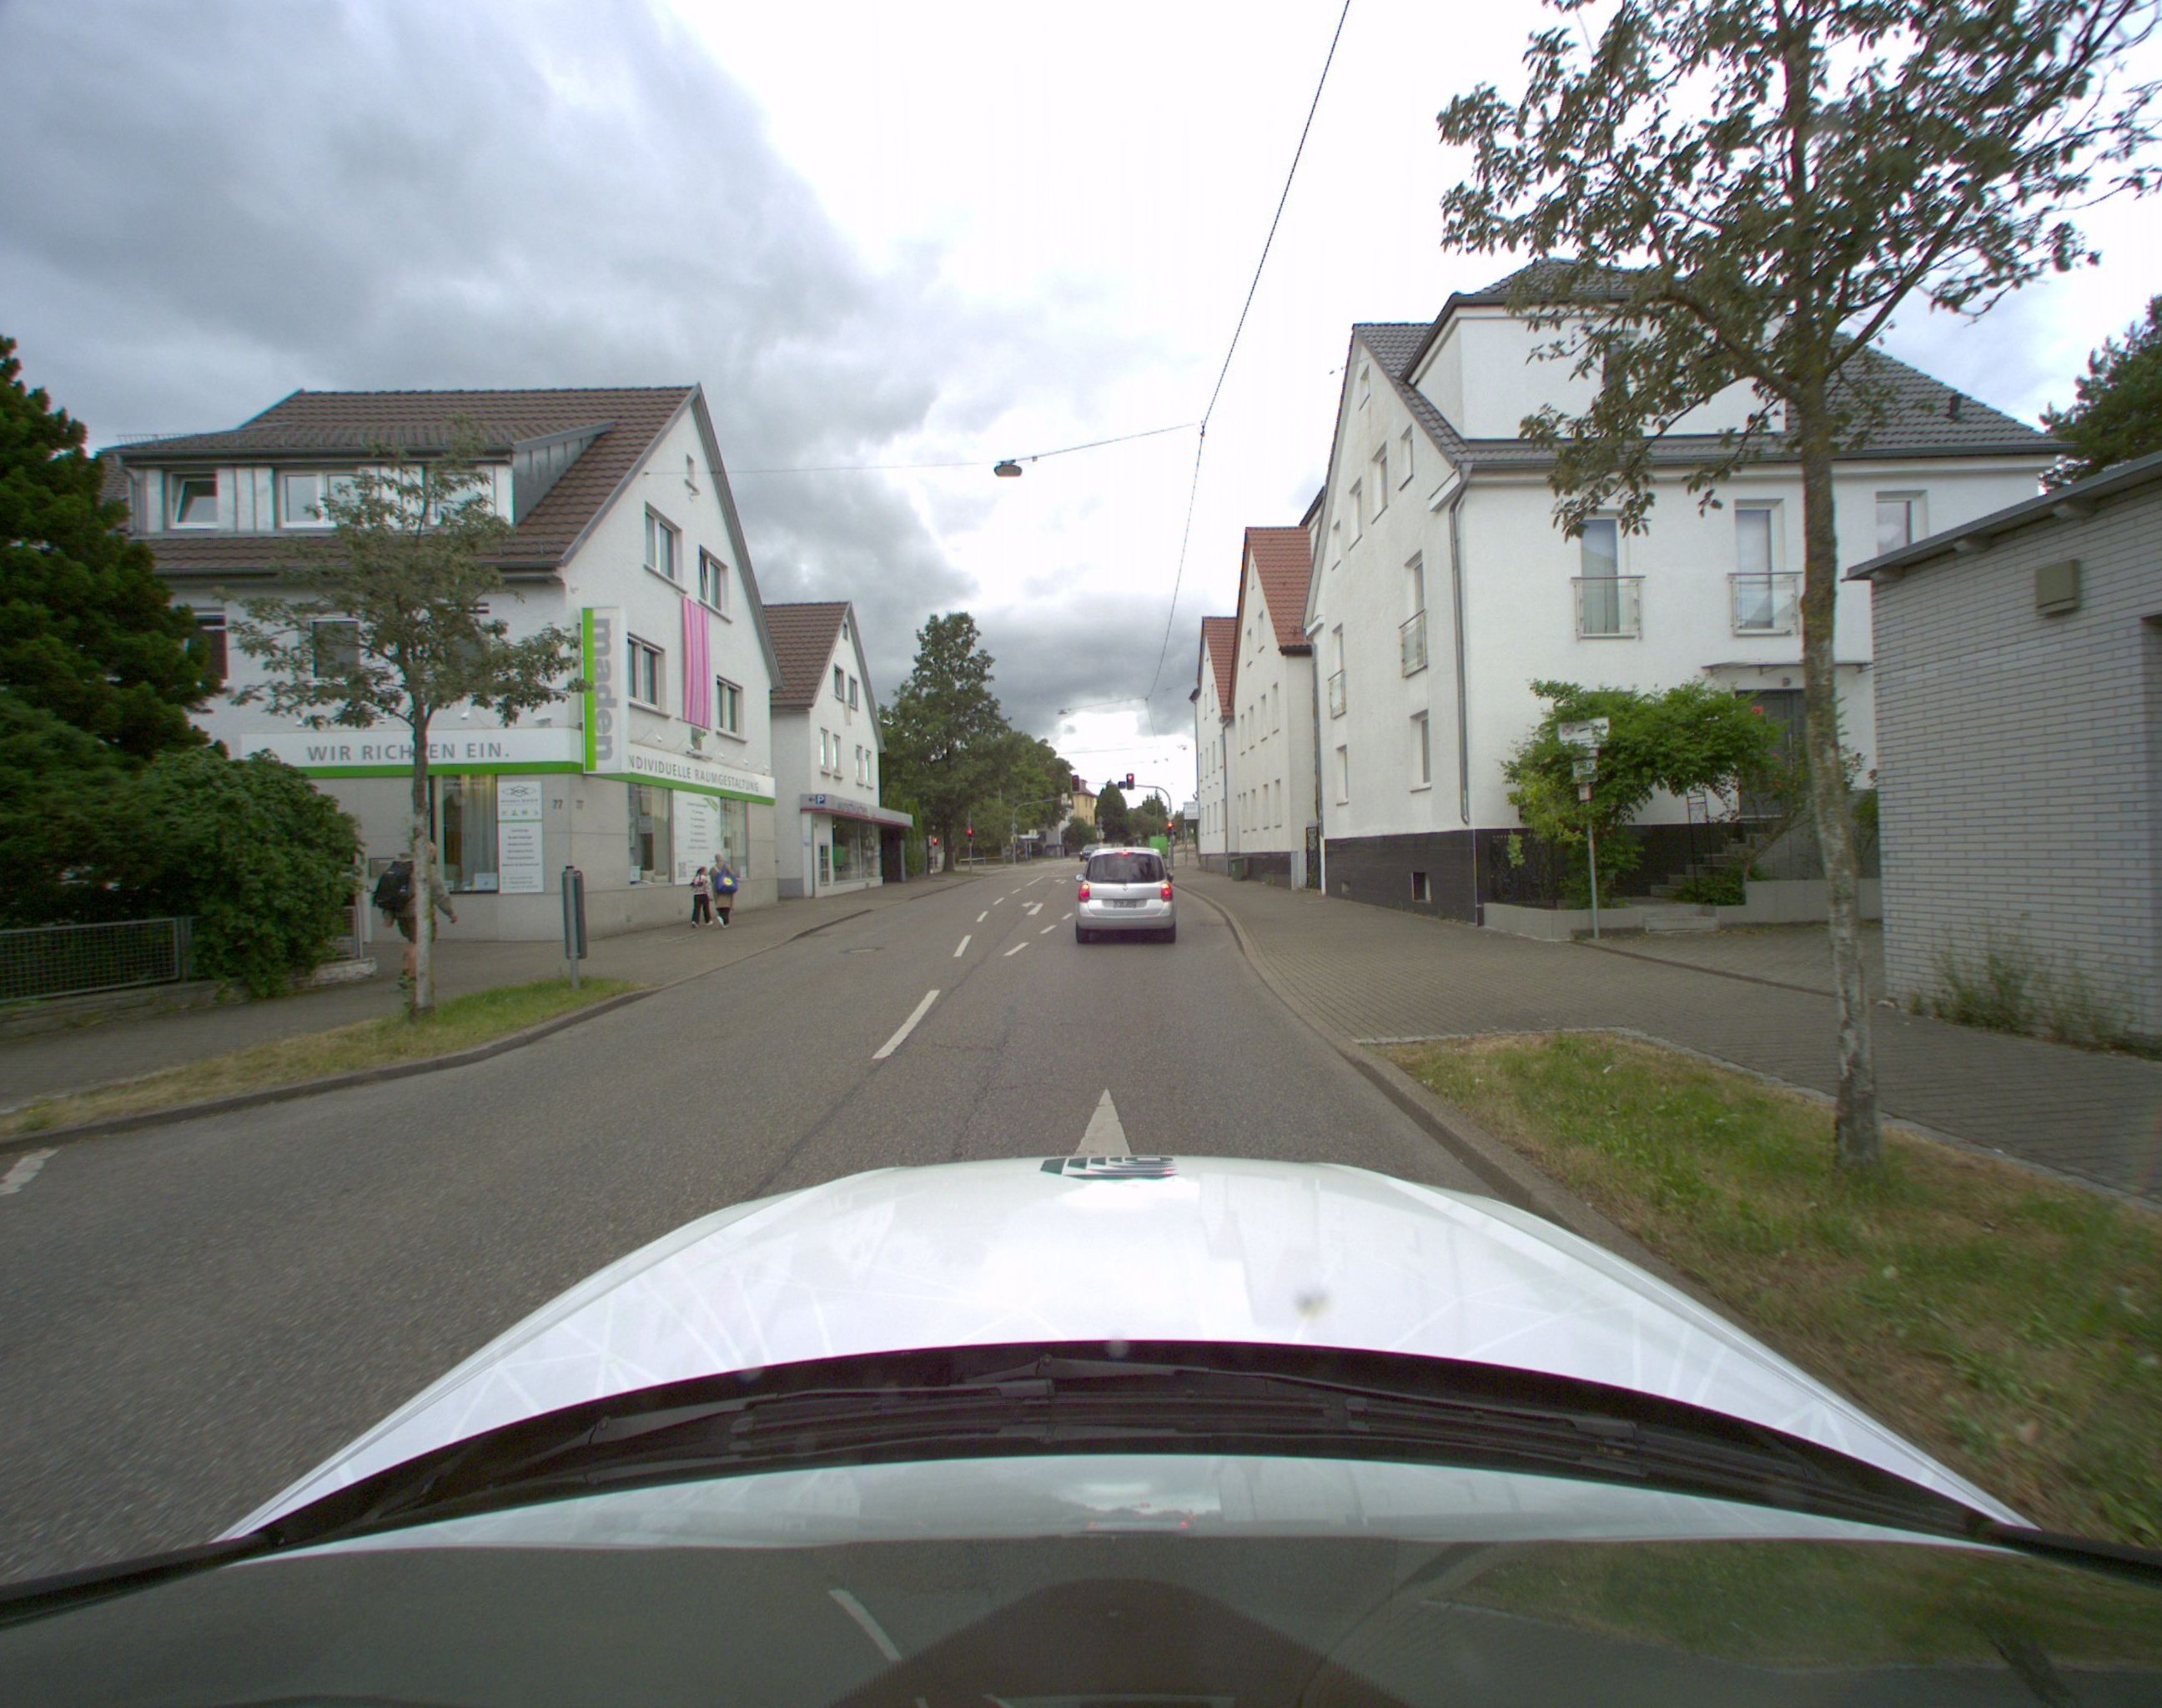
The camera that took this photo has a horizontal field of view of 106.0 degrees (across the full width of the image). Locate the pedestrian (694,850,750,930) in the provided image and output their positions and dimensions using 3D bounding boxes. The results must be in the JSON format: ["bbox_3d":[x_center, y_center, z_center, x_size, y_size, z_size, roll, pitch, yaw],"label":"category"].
[{"bbox_3d":[-7.574,0.741,17.213,0.748,1.617,0.793,2,0,1],"label":"pedestrian"}]

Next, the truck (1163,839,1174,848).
[{"bbox_3d":[21.108,-2.478,195.645,2.087,2.013,5.766,0,0,12],"label":"truck"}]

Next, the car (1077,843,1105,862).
[{"bbox_3d":[1.027,-0.139,83.824,1.913,1.773,4.014,-5,0,12],"label":"car"}]

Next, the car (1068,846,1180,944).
[{"bbox_3d":[0.740,0.645,14.823,1.748,1.530,4.002,0,0,2],"label":"car"}]

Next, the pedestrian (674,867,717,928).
[{"bbox_3d":[-8.297,0.919,17.543,0.597,1.279,0.655,0,0,1],"label":"pedestrian"}]

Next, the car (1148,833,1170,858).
[{"bbox_3d":[8.251,-0.850,85.834,2.048,2.512,5.606,0,0,7],"label":"car"}]

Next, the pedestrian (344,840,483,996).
[{"bbox_3d":[-7.915,0.721,9.710,0.748,1.743,1.020,1,0,1],"label":"pedestrian"}]

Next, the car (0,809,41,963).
[{"bbox_3d":[-19.924,0.608,12.614,5.276,2.464,2.002,-2,0,4],"label":"car"}]

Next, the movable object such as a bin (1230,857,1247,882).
[{"bbox_3d":[6.136,0.598,31.720,0.538,0.941,0.487,-4,0,2],"label":"movable object such as a bin"}]

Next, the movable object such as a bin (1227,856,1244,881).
[{"bbox_3d":[6.131,0.559,32.257,0.538,0.941,0.487,-4,0,2],"label":"movable object such as a bin"}]
